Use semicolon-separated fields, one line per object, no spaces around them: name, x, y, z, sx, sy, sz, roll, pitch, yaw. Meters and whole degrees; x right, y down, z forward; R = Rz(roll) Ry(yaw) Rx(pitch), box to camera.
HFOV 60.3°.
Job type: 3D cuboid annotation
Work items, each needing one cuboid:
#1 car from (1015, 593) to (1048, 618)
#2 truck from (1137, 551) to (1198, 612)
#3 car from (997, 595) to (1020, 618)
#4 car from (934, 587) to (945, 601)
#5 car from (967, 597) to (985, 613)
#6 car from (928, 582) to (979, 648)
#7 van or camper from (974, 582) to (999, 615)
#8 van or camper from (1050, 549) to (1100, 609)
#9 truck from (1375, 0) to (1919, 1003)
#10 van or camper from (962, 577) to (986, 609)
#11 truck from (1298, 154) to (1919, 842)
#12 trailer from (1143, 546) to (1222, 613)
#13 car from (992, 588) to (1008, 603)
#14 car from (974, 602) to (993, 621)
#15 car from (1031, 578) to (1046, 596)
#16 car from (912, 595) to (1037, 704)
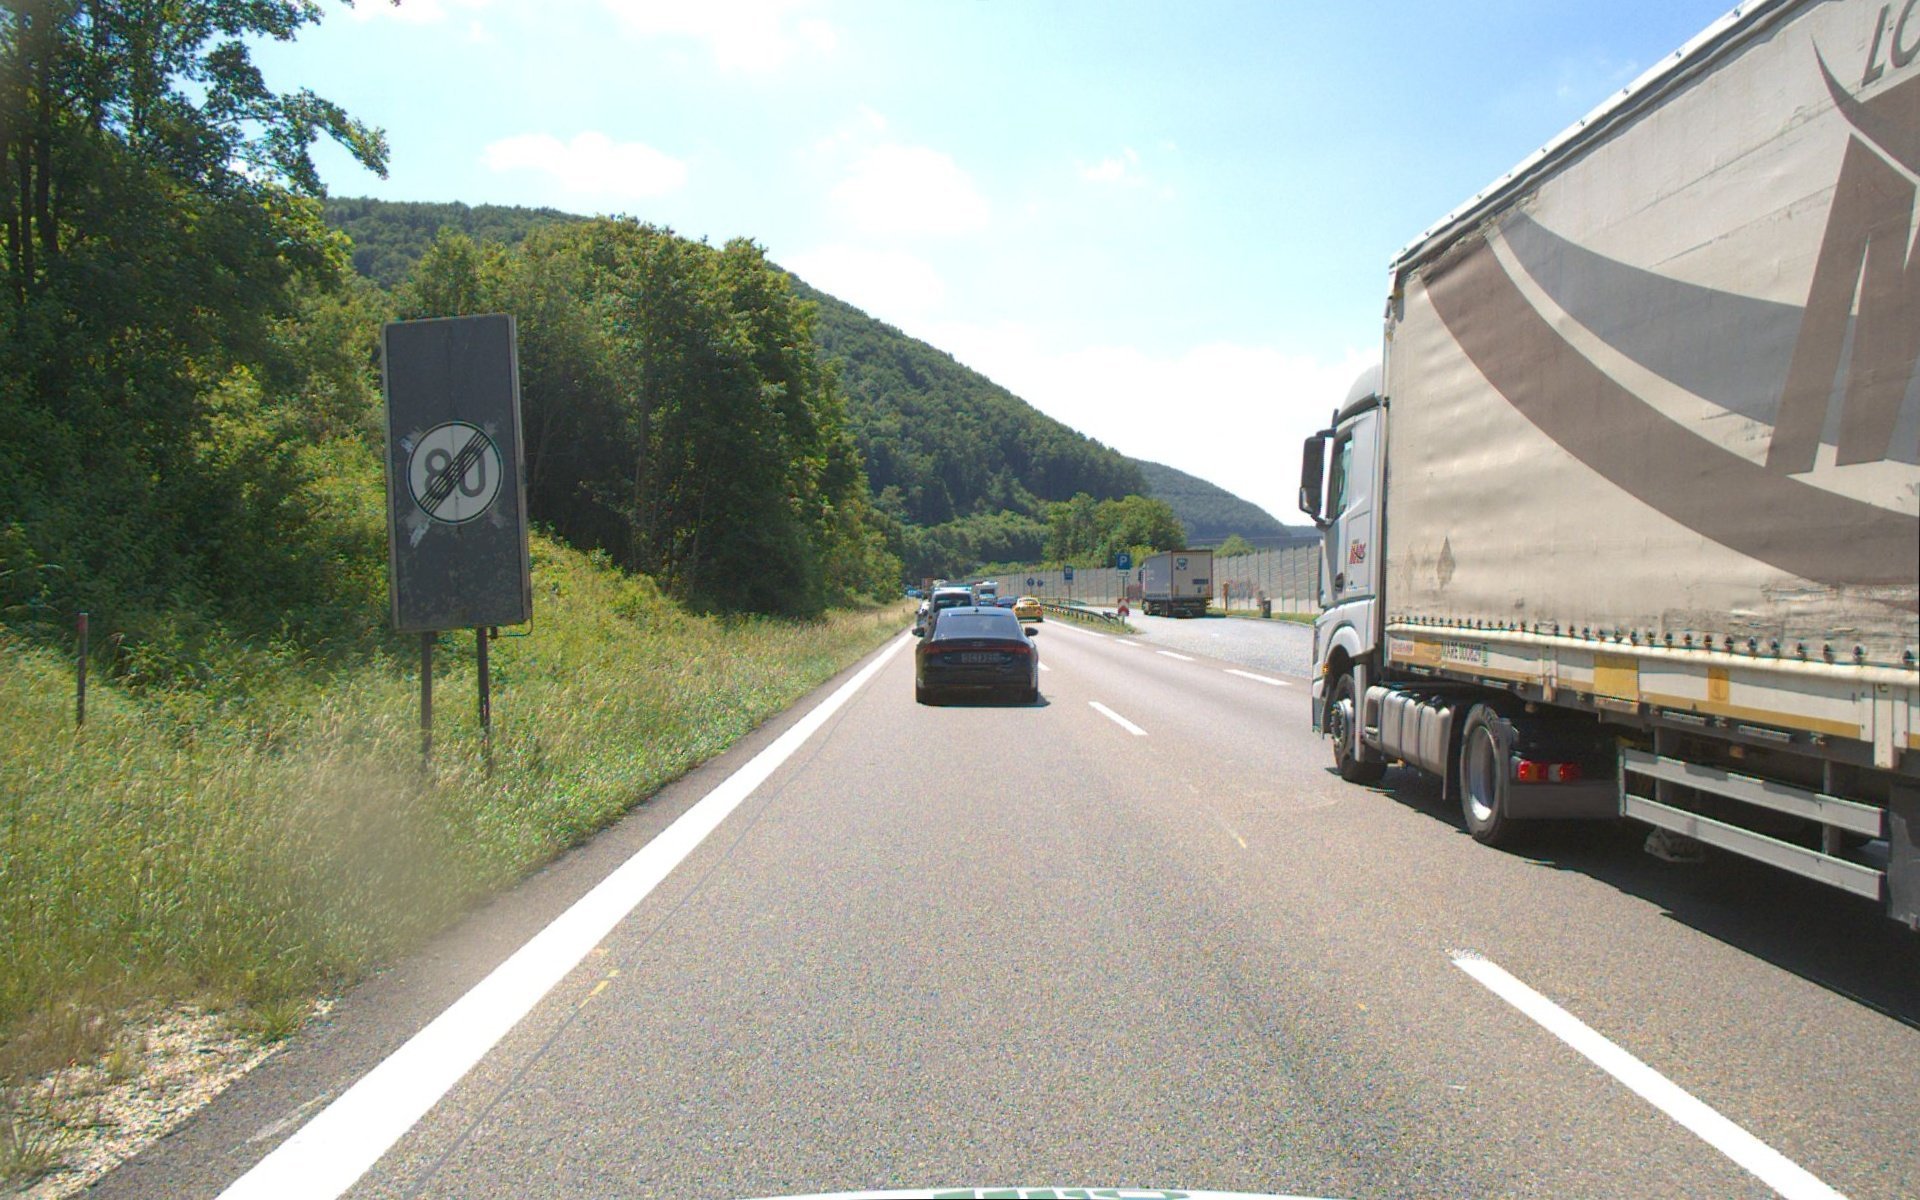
car;4.348;0.340;100.567;1.840;1.525;4.000;0;0;0
truck;13.818;-1.240;110.581;3.342;3.968;5.386;0;0;-1
car;3.419;0.499;117.880;1.499;1.552;3.596;2;-1;0
car;-3.029;-0.867;243.854;1.653;2.049;3.999;0;0;-1
car;1.910;0.554;199.414;1.953;1.825;3.999;2;-1;-1
car;-0.228;0.480;53.450;1.490;2.003;3.513;2;-1;-1
van or camper;2.694;-0.140;170.868;2.380;3.210;5.202;2;-1;0
van or camper;7.848;-1.391;113.627;2.739;3.909;6.164;2;-1;-2
truck;4.656;-0.663;6.036;2.670;4.139;13.738;1;-1;-1
van or camper;1.836;-0.922;219.058;2.739;3.975;6.164;2;-1;-2
truck;4.599;-0.584;12.896;2.664;4.139;5.753;1;-1;-1
trailer;13.871;-1.215;104.204;3.342;3.968;11.149;0;0;-1
car;5.608;-0.595;231.355;1.953;2.049;3.998;0;0;-2
car;1.931;0.993;138.079;1.499;1.552;3.596;2;-1;0
car;9.154;-1.483;193.032;1.544;2.049;3.427;0;0;0
car;0.219;0.702;25.506;1.775;1.541;3.514;-1;0;0
